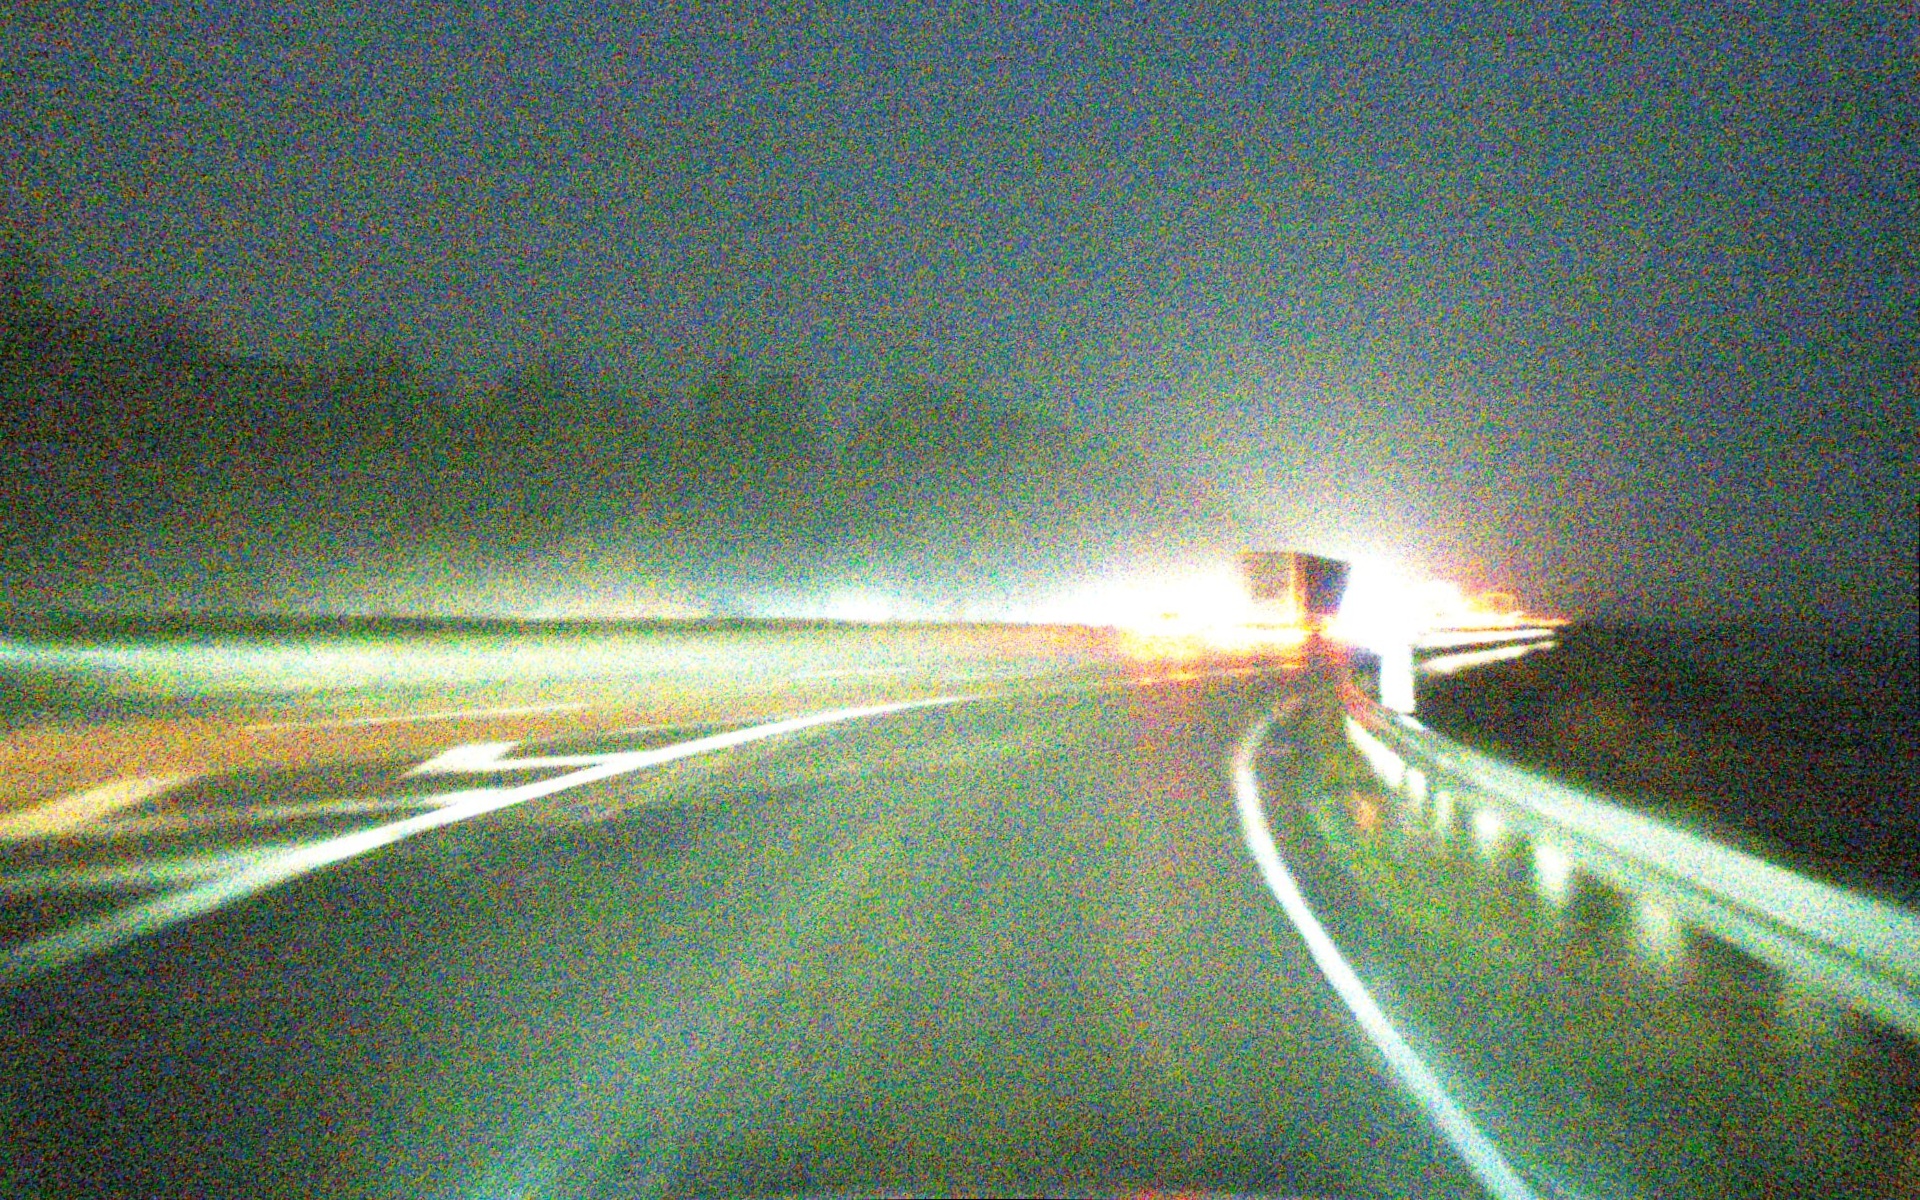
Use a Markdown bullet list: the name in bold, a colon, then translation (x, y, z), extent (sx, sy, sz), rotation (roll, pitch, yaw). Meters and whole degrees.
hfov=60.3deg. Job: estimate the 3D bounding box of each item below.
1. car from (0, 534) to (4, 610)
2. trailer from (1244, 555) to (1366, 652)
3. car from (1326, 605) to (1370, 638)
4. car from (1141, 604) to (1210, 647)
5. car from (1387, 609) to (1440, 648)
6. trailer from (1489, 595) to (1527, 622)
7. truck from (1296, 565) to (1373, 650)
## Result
- **car**: translation (-11.665, 0.258, 15.259), extent (1.954, 2.048, 4.564), rotation (3, 0, 25)
- **trailer**: translation (15.542, 0.270, 73.538), extent (2.540, 3.789, 13.647), rotation (3, 0, 23)
- **car**: translation (25.757, 1.425, 109.613), extent (1.955, 2.048, 3.997), rotation (3, 0, 25)
- **car**: translation (9.033, 1.074, 69.130), extent (1.953, 1.646, 4.000), rotation (3, 0, 20)
- **car**: translation (23.396, 1.448, 85.269), extent (1.954, 1.850, 3.998), rotation (3, 0, 24)
- **trailer**: translation (62.013, 1.001, 187.127), extent (2.634, 2.746, 12.849), rotation (3, 0, 24)
- **truck**: translation (18.061, 0.387, 79.533), extent (2.536, 3.775, 5.456), rotation (3, 0, 23)
